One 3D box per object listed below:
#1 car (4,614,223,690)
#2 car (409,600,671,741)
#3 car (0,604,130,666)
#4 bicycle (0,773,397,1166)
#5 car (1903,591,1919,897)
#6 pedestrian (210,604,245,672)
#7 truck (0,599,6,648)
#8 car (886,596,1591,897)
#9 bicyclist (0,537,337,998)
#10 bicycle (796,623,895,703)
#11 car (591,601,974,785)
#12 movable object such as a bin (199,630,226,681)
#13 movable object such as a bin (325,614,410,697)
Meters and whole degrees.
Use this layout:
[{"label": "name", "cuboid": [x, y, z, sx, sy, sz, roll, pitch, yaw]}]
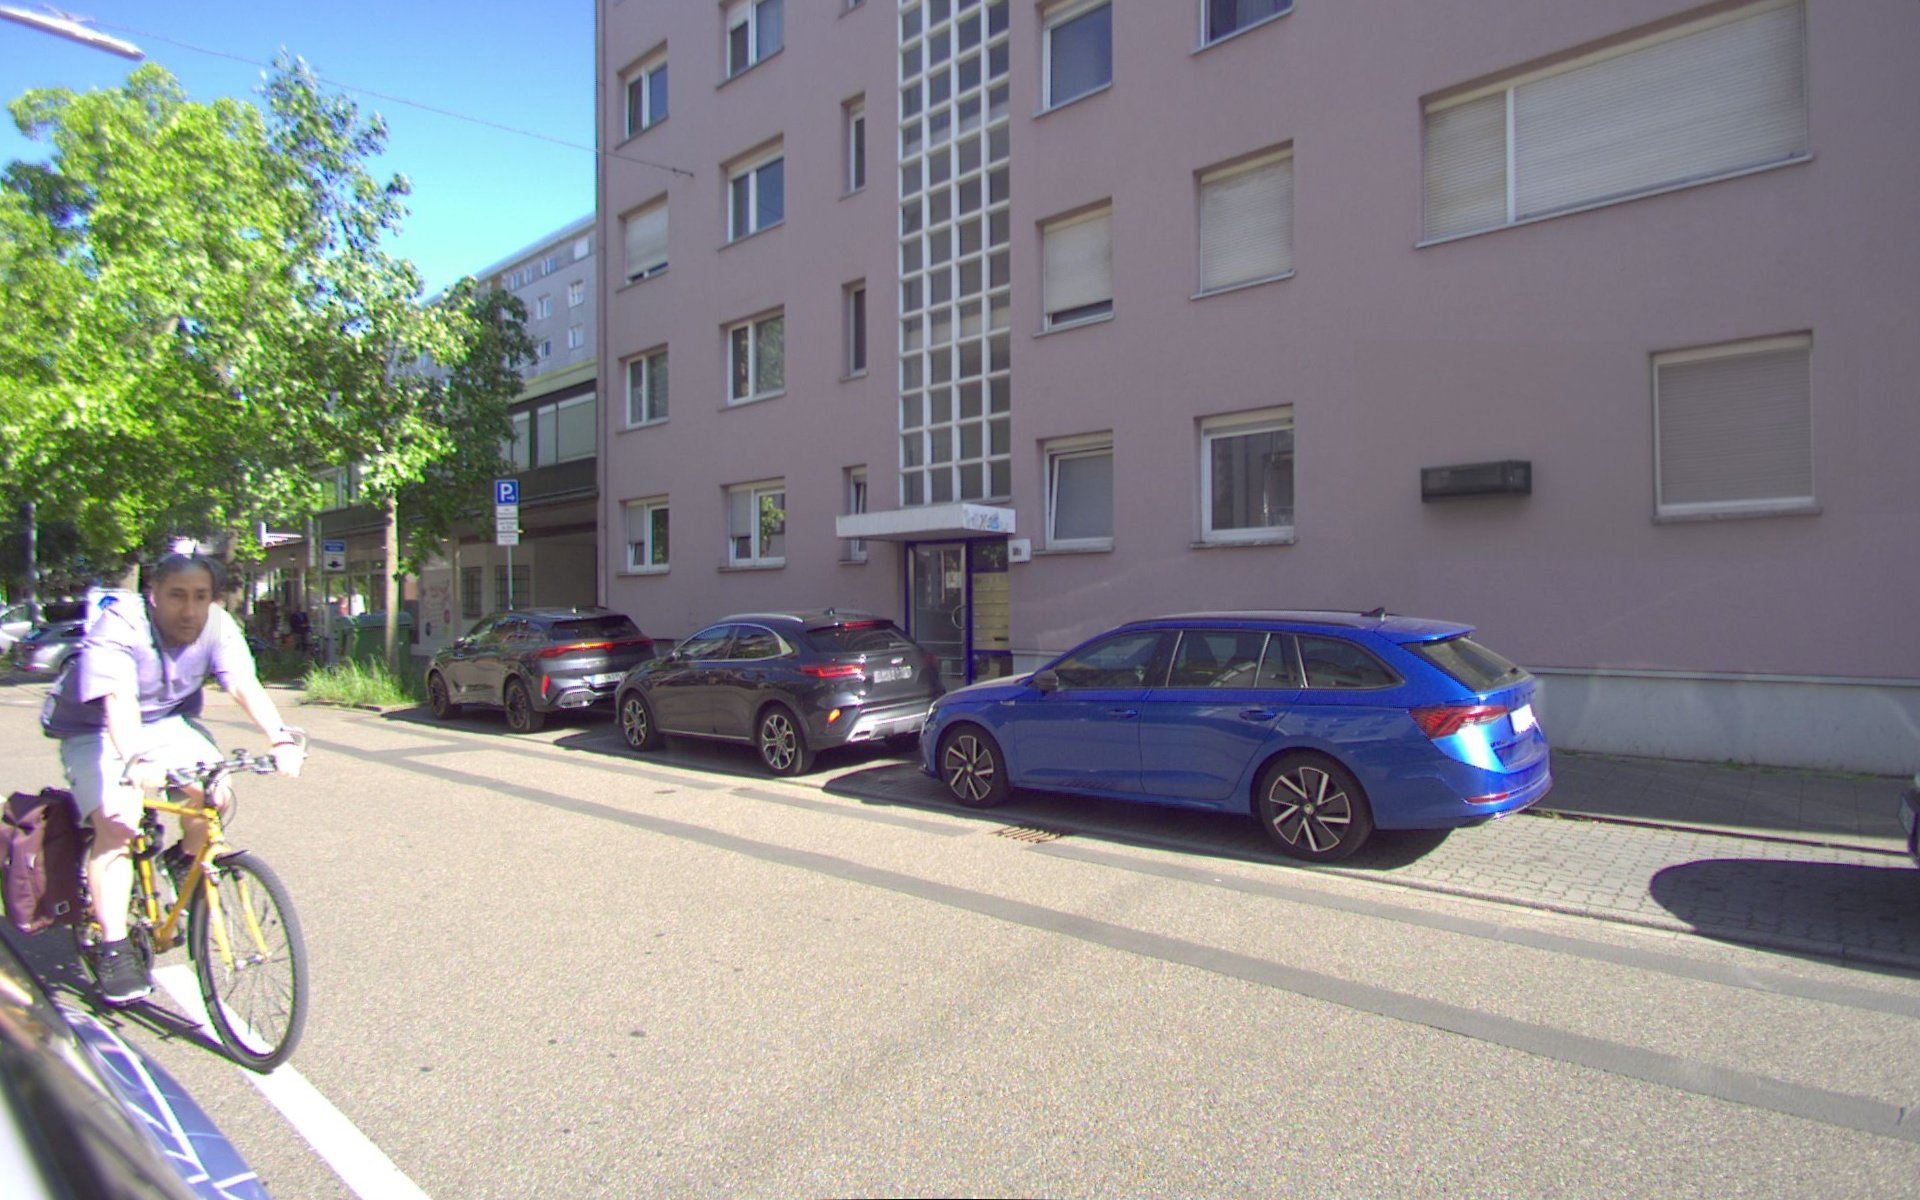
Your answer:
[{"label": "car", "cuboid": [-20.964, 1.218, 25.167, 1.999, 1.687, 3.945, -1, -1, 41]}, {"label": "car", "cuboid": [-6.046, 0.887, 14.328, 4.141, 1.604, 1.798, -1, 2, 43]}, {"label": "car", "cuboid": [-31.275, 1.158, 34.825, 1.999, 2.047, 3.945, -1, -1, 41]}, {"label": "bicycle", "cuboid": [-2.769, 1.133, 3.495, 1.806, 0.888, 0.606, -2, -2, 30]}, {"label": "car", "cuboid": [6.347, 0.671, 3.202, 4.812, 1.477, 1.699, -1, 0, 41]}, {"label": "pedestrian", "cuboid": [-22.062, 1.125, 30.475, 0.566, 2.029, 0.743, -1, -1, 41]}, {"label": "truck", "cuboid": [-52.381, 1.232, 51.494, 1.993, 2.615, 5.266, -1, -1, 31]}, {"label": "car", "cuboid": [1.708, 0.785, 7.309, 4.610, 1.476, 1.699, -1, 1, 41]}, {"label": "bicyclist", "cuboid": [-2.754, 0.510, 3.508, 1.014, 1.357, 0.604, -2, -2, 30]}, {"label": "bicycle", "cuboid": [-1.682, 0.889, 14.708, 1.649, 1.084, 0.386, -1, 3, 42]}, {"label": "car", "cuboid": [-2.042, 0.834, 10.796, 4.245, 1.519, 1.798, -1, 1, 43]}, {"label": "movable object such as a bin", "cuboid": [-18.480, 1.373, 25.021, 0.409, 1.234, 0.482, -1, -1, 41]}, {"label": "movable object such as a bin", "cuboid": [-11.569, 1.056, 19.770, 1.230, 1.557, 1.019, 0, -1, -44]}]
